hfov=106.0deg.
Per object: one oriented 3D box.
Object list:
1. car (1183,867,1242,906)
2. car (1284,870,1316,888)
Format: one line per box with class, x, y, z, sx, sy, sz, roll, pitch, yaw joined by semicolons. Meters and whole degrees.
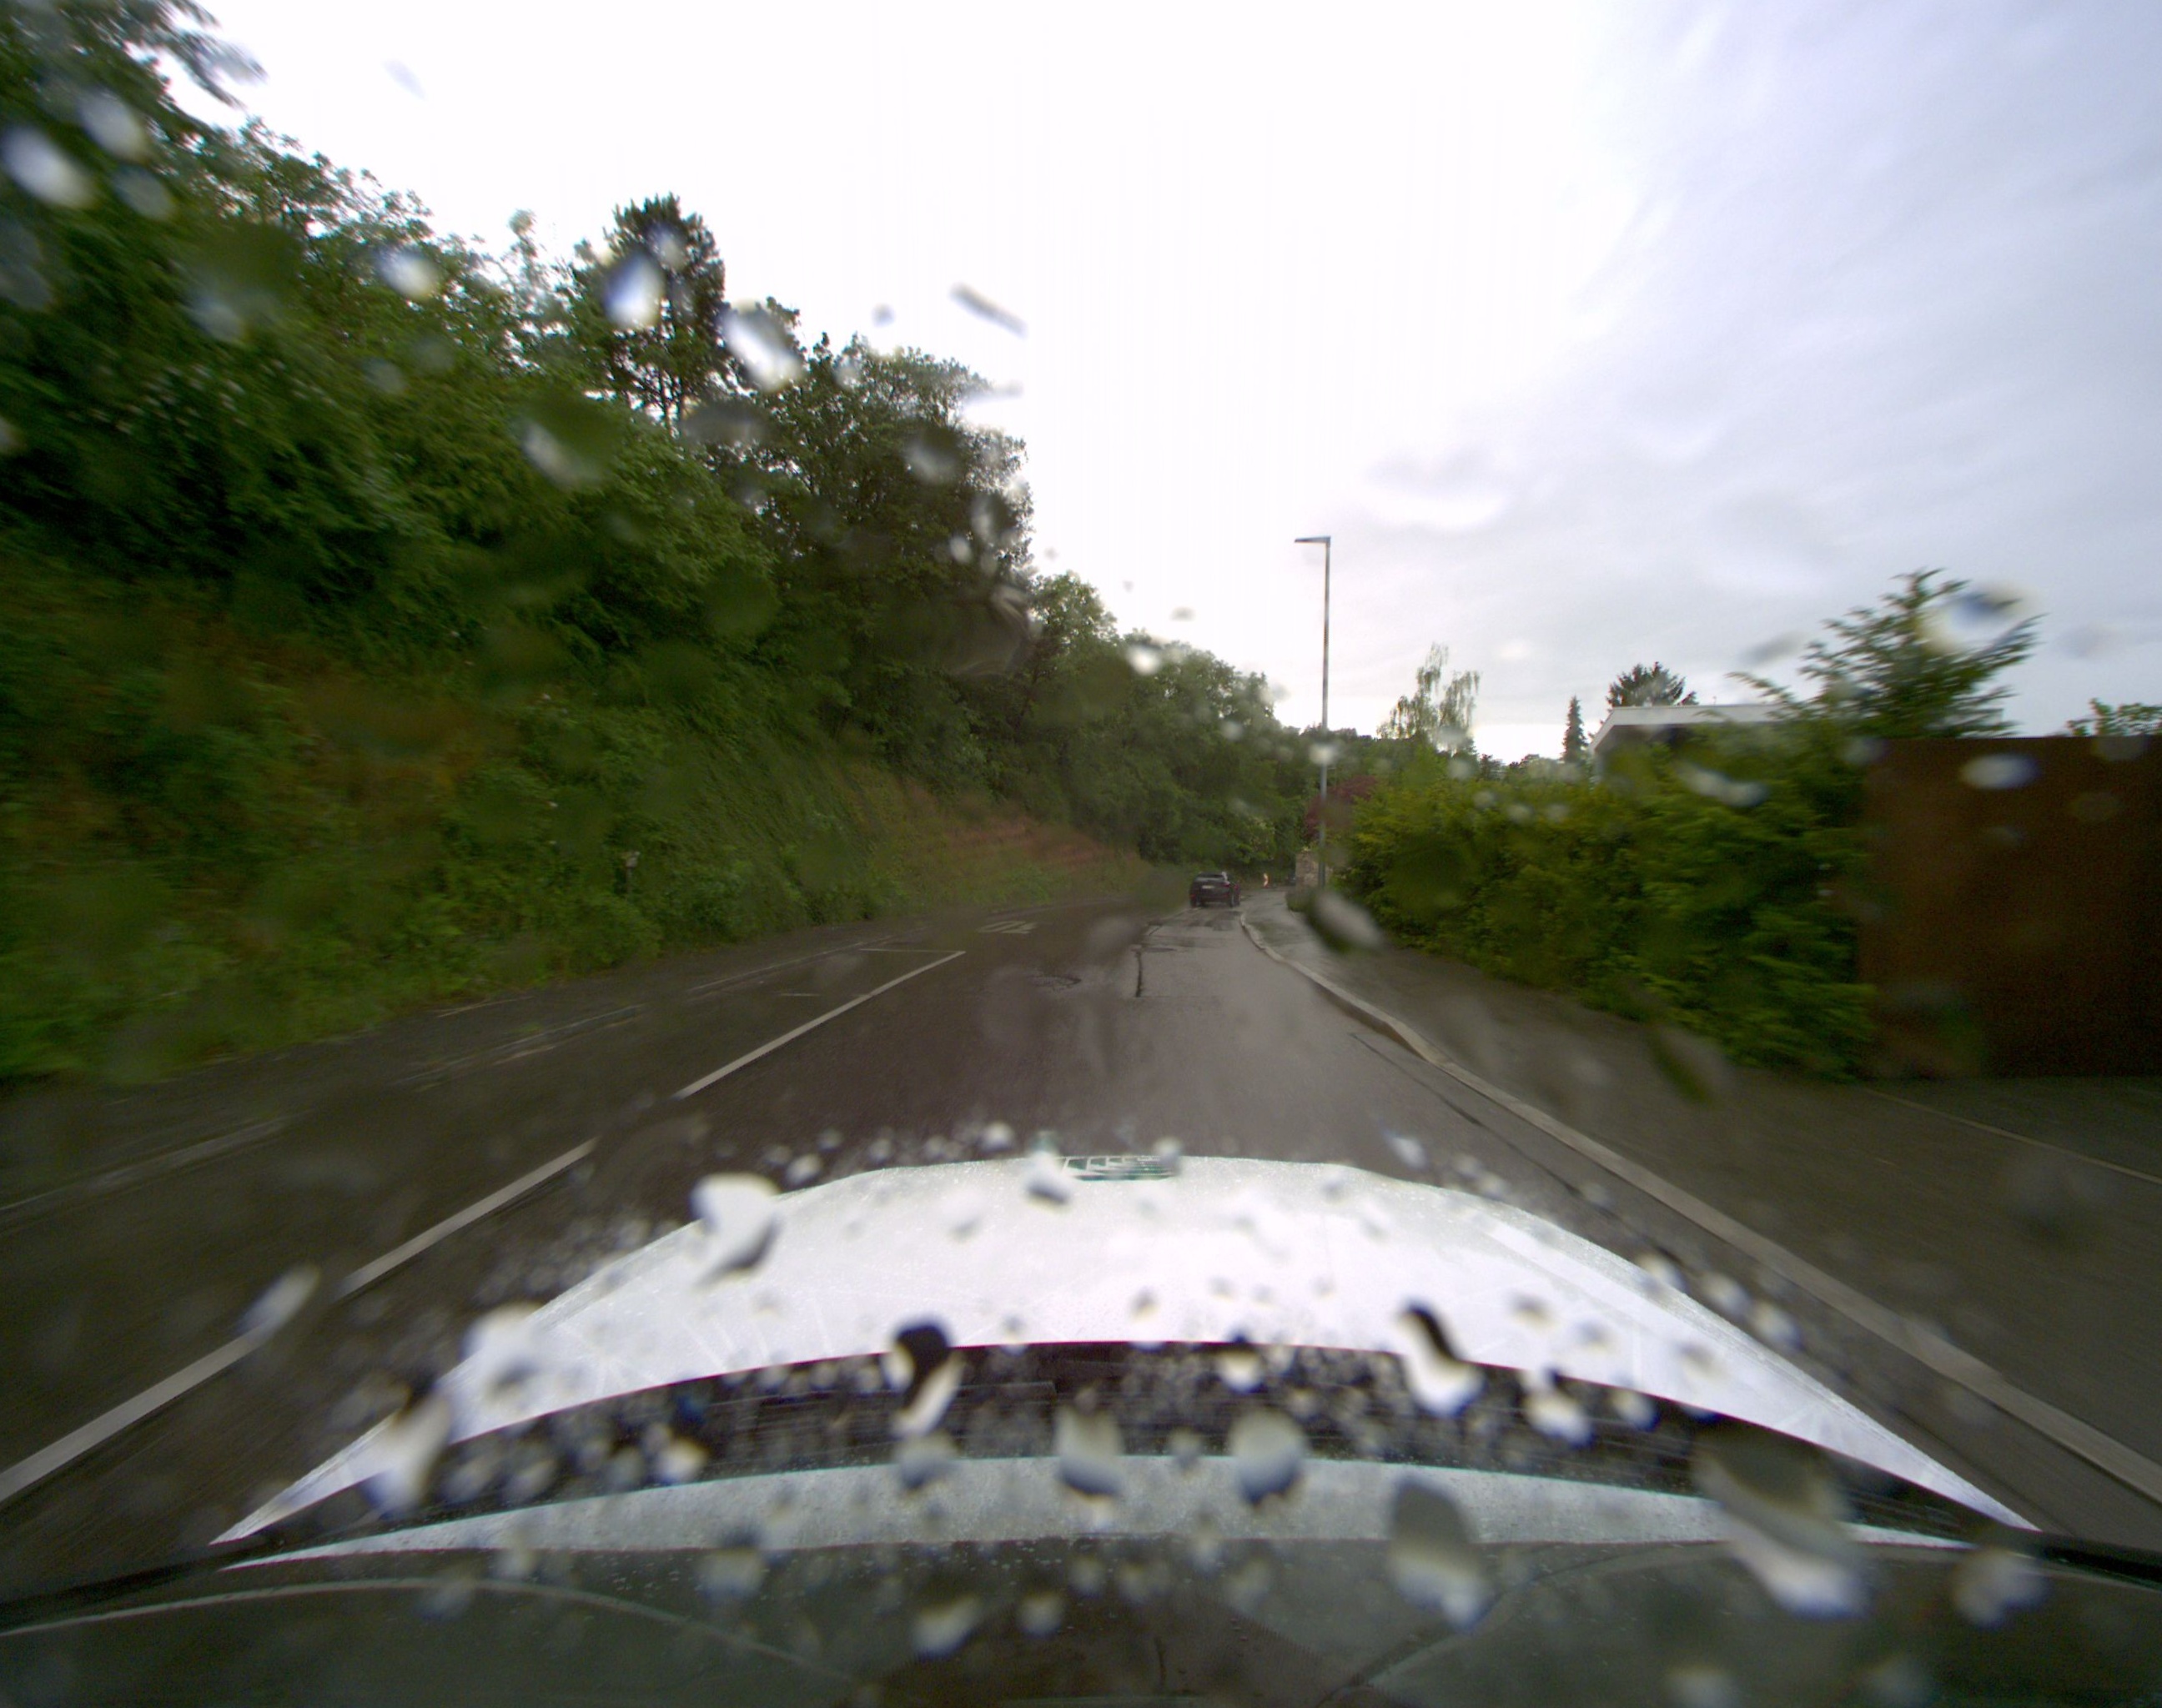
car;5.611;1.317;34.365;1.854;1.512;4.111;1;-1;18
car;19.742;2.207;73.425;1.683;1.471;4.025;2;0;31
